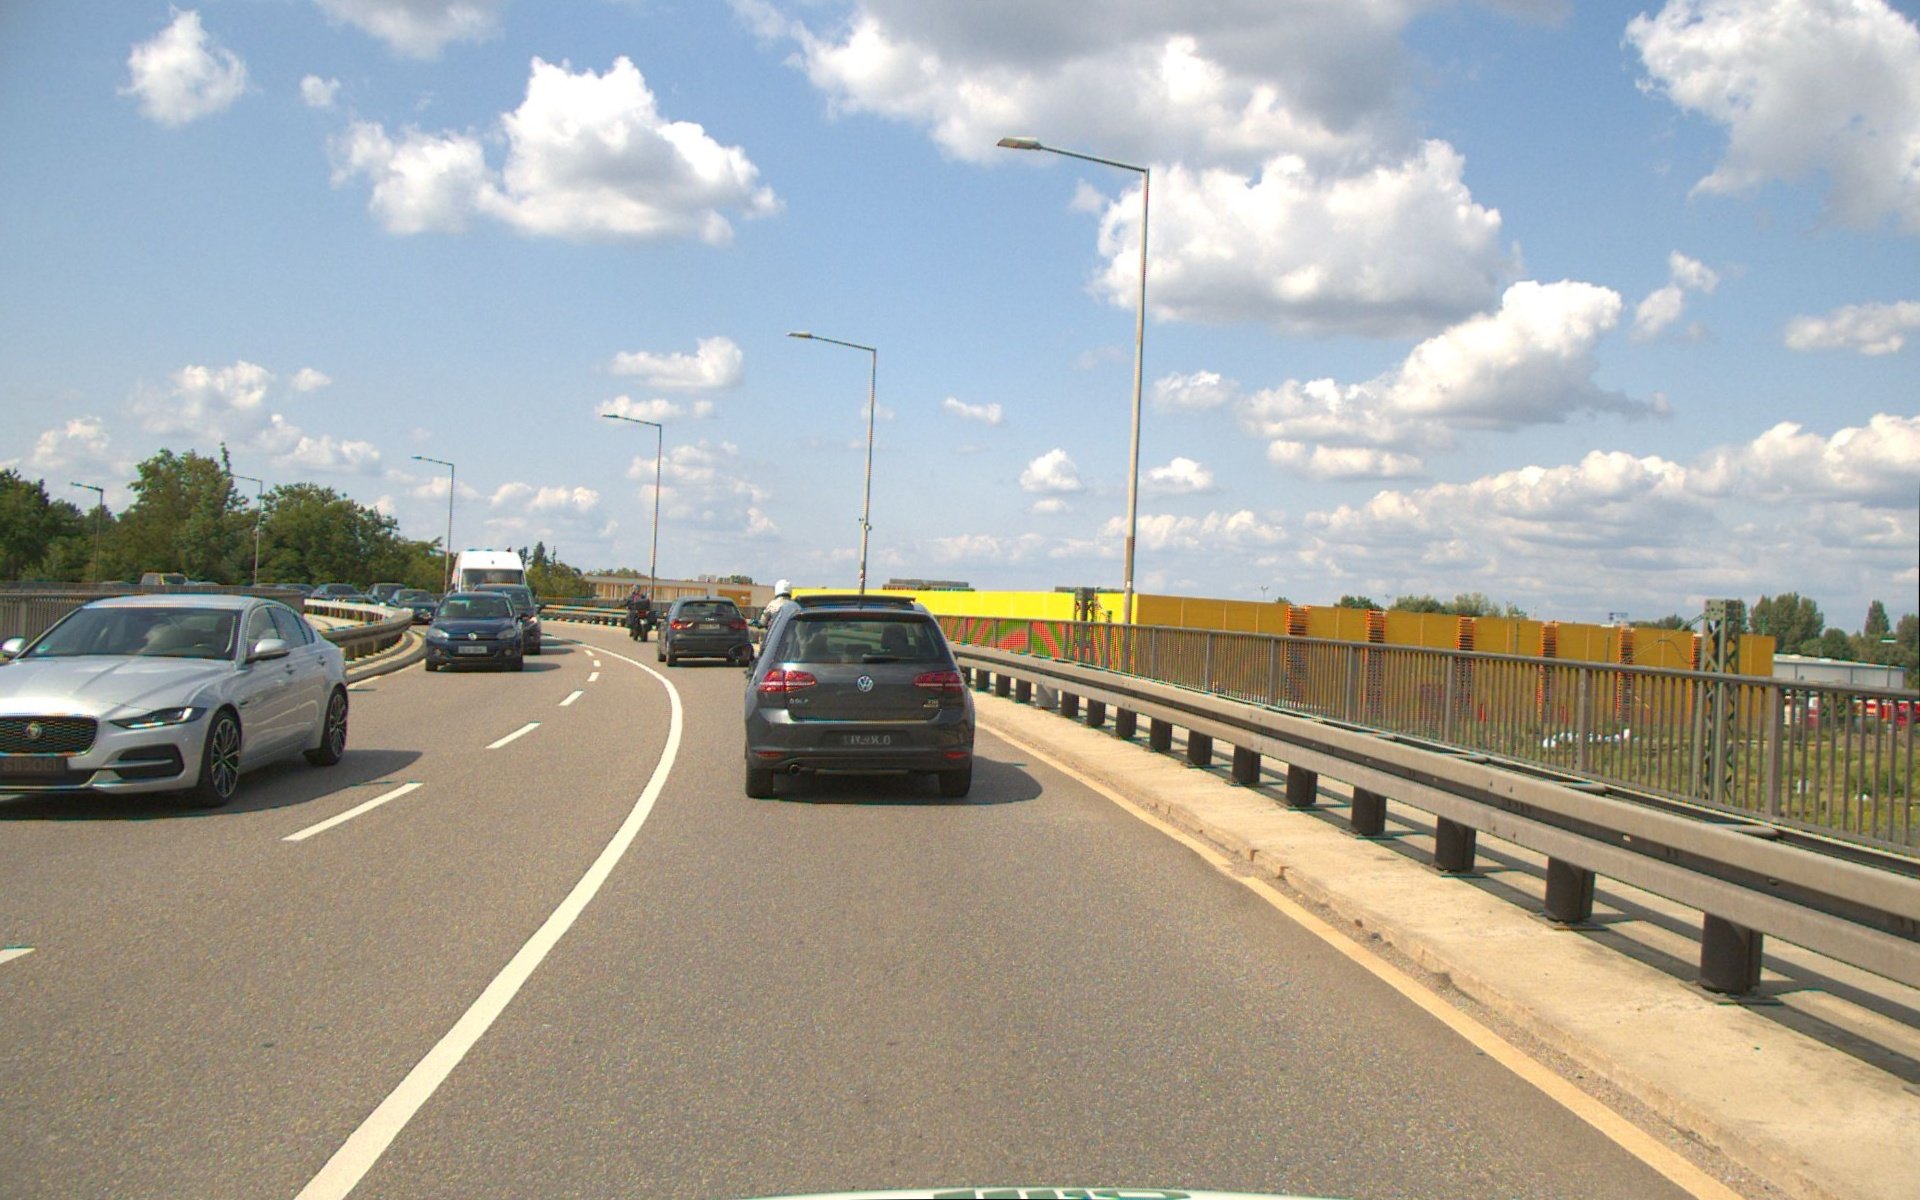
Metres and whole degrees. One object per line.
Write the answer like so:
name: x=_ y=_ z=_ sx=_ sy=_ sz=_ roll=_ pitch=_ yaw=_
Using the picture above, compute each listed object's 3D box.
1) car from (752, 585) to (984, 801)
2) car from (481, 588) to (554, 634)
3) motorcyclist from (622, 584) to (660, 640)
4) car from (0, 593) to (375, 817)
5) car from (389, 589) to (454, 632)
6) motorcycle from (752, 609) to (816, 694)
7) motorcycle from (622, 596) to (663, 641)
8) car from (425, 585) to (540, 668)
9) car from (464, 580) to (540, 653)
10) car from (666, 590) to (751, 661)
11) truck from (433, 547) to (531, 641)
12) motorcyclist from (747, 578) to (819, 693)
car: x=-0.878 y=0.664 z=13.551 sx=1.611 sy=1.504 sz=3.866 roll=1 pitch=0 yaw=-7
car: x=-15.159 y=0.344 z=56.521 sx=1.743 sy=1.485 sz=4.265 roll=-1 pitch=0 yaw=-25
motorcyclist: x=-9.523 y=0.351 z=49.353 sx=0.951 sy=1.624 sz=1.119 roll=1 pitch=0 yaw=-18
car: x=-5.980 y=0.662 z=12.717 sx=1.760 sy=1.399 sz=4.574 roll=1 pitch=0 yaw=-6
car: x=-21.611 y=0.376 z=66.230 sx=1.666 sy=1.624 sz=4.240 roll=0 pitch=1 yaw=-30
motorcycle: x=-2.631 y=0.741 z=24.516 sx=0.774 sy=1.151 sz=2.394 roll=1 pitch=0 yaw=-10
motorcycle: x=-9.459 y=0.540 z=49.184 sx=0.874 sy=1.269 sz=2.387 roll=1 pitch=0 yaw=-18
car: x=-9.159 y=0.457 z=31.997 sx=1.628 sy=1.479 sz=4.317 roll=0 pitch=0 yaw=-9
car: x=-11.196 y=0.375 z=40.423 sx=1.689 sy=1.660 sz=4.409 roll=0 pitch=0 yaw=-16
car: x=-5.263 y=0.540 z=34.846 sx=1.650 sy=1.412 sz=3.732 roll=0 pitch=-1 yaw=-8
truck: x=-13.843 y=-0.194 z=47.705 sx=1.967 sy=2.551 sz=5.903 roll=0 pitch=1 yaw=-24
motorcyclist: x=-2.644 y=0.514 z=24.612 sx=0.948 sy=1.648 sz=1.122 roll=1 pitch=0 yaw=-10
